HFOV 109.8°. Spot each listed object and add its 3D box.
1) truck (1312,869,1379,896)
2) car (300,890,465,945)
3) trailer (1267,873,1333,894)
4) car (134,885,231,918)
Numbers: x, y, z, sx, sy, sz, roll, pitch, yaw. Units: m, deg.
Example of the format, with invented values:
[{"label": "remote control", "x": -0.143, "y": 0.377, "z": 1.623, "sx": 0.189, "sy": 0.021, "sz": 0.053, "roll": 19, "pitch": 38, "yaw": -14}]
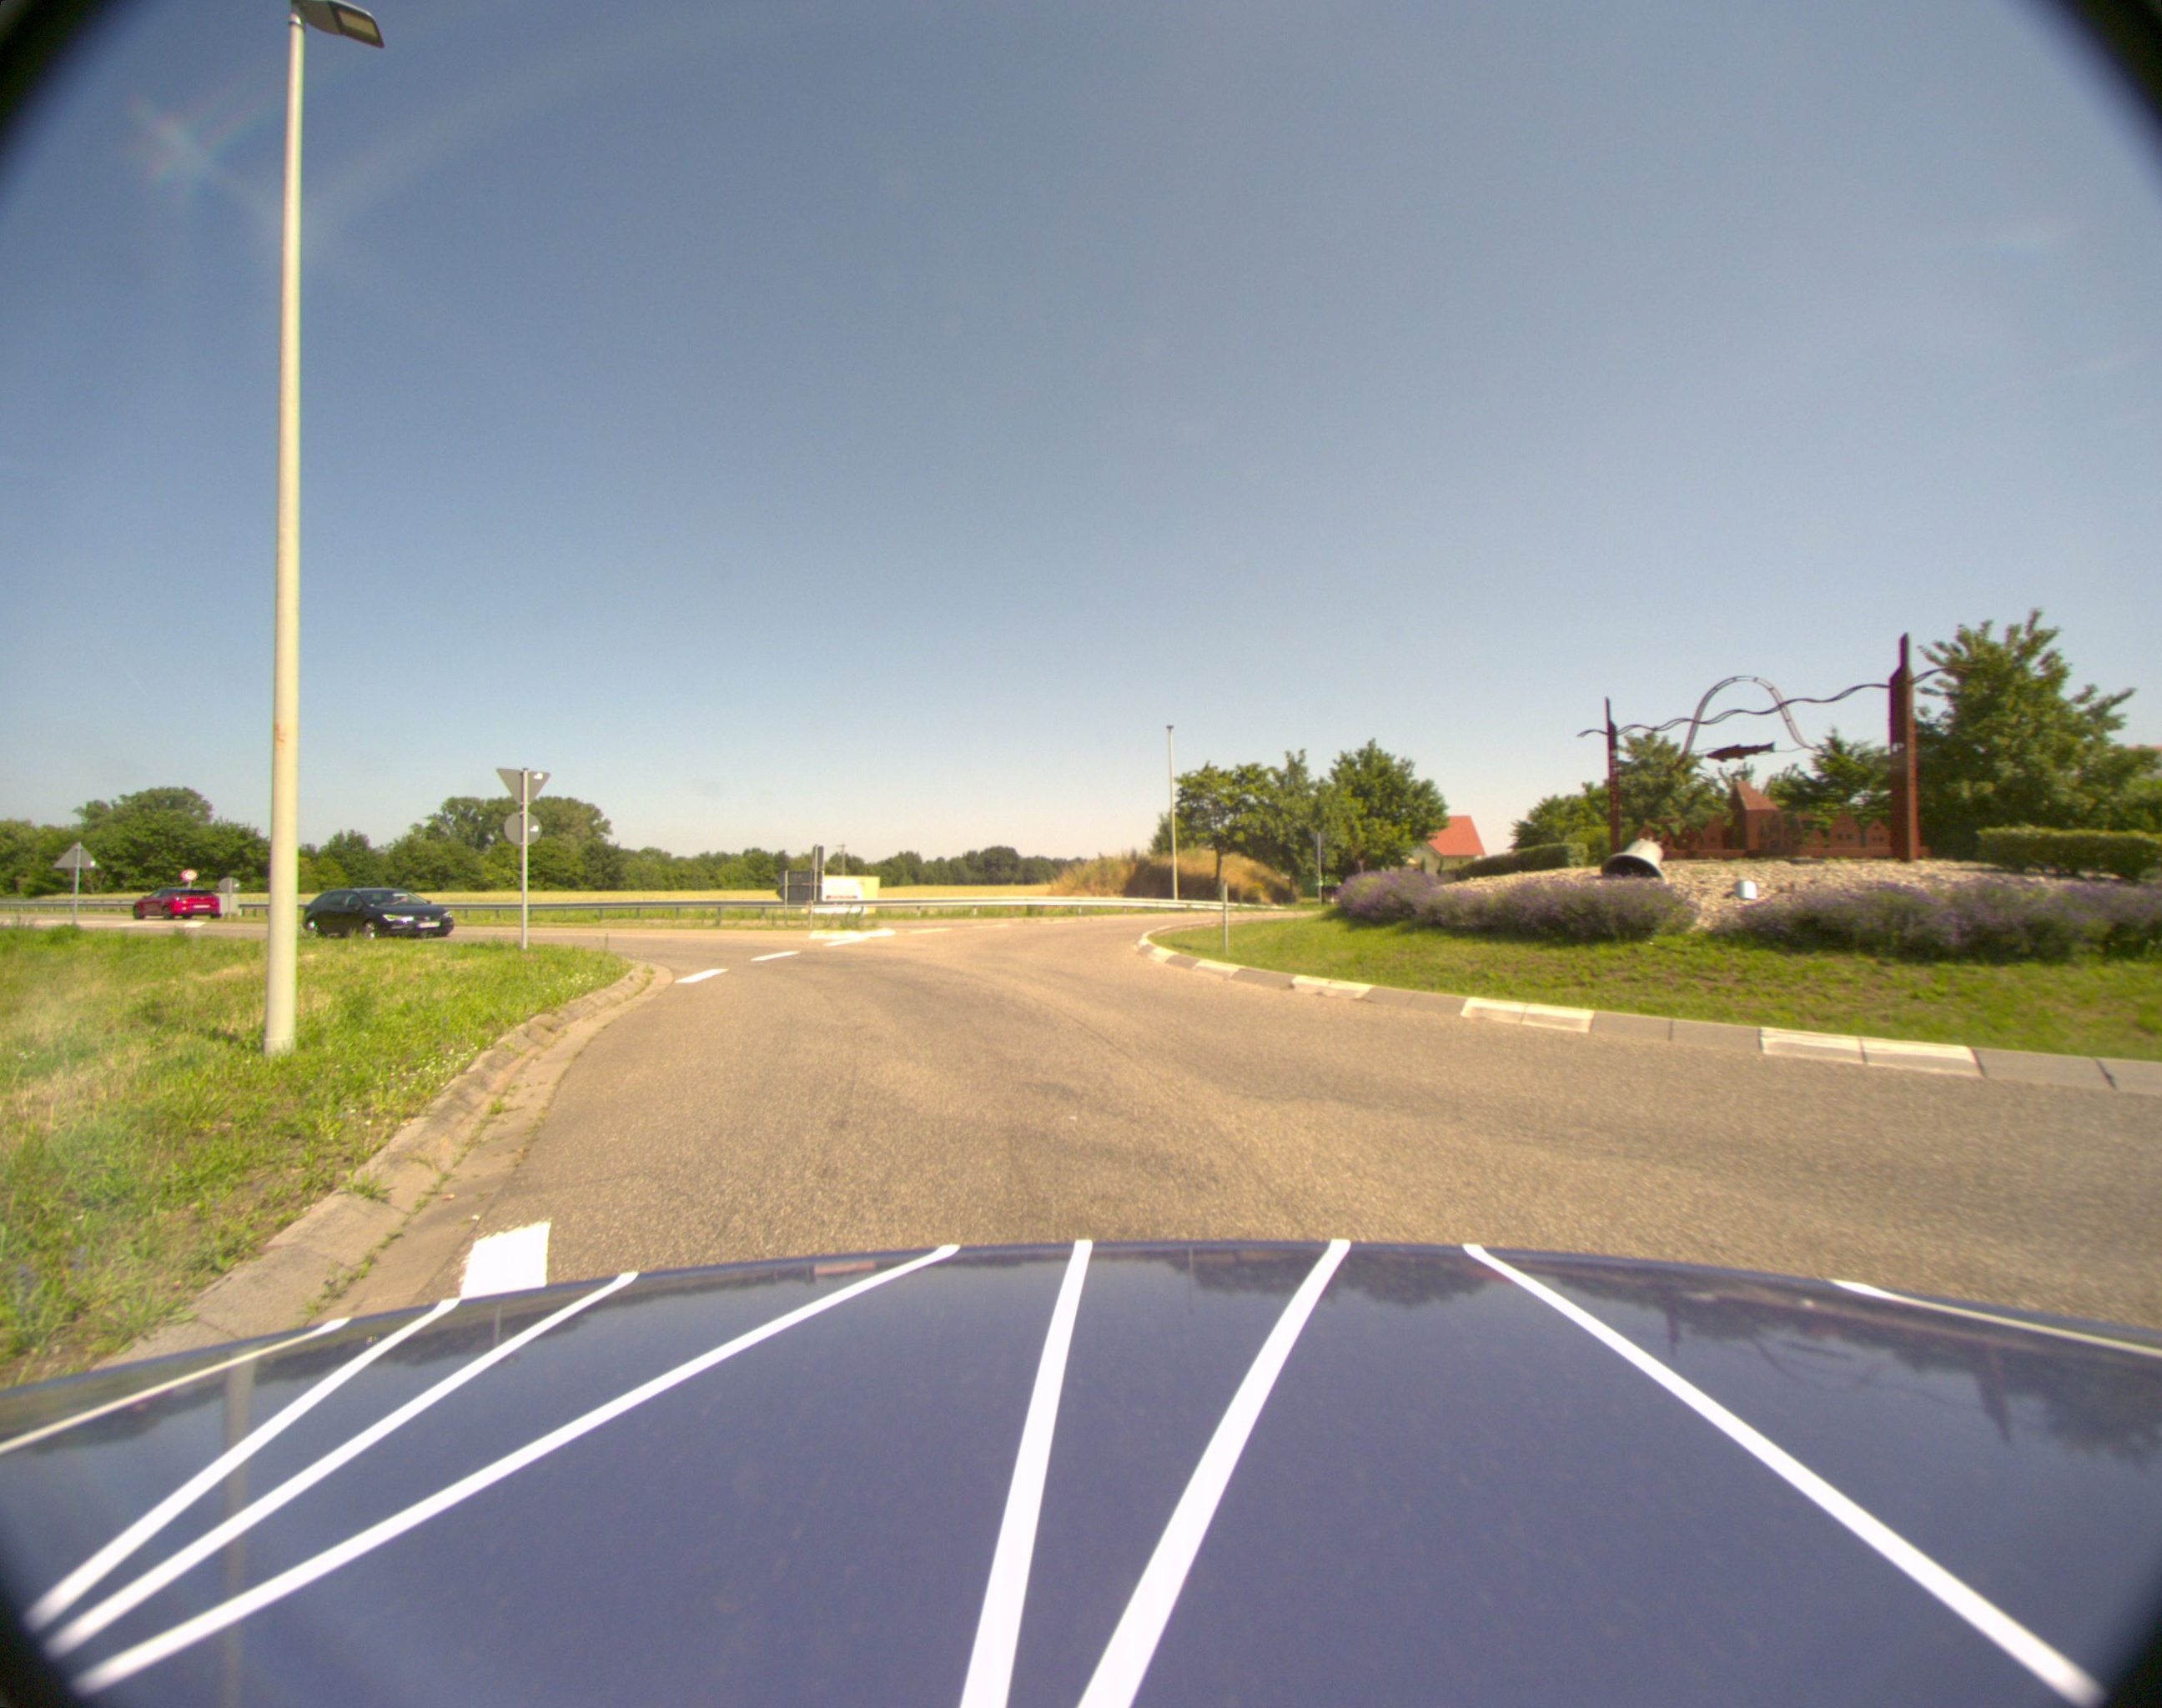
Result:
[{"label": "truck", "x": 27.018, "y": 2.910, "z": 78.095, "sx": 2.523, "sy": 2.633, "sz": 7.678, "roll": 0, "pitch": -1, "yaw": -16}, {"label": "car", "x": -19.994, "y": 1.762, "z": 21.760, "sx": 4.170, "sy": 1.389, "sz": 1.811, "roll": -1, "pitch": -1, "yaw": 21}, {"label": "trailer", "x": 24.817, "y": 3.277, "z": 86.834, "sx": 2.001, "sy": 2.264, "sz": 10.479, "roll": 0, "pitch": -1, "yaw": -15}, {"label": "car", "x": -43.535, "y": 2.323, "z": 36.836, "sx": 3.823, "sy": 1.513, "sz": 1.753, "roll": -2, "pitch": -3, "yaw": 19}]
